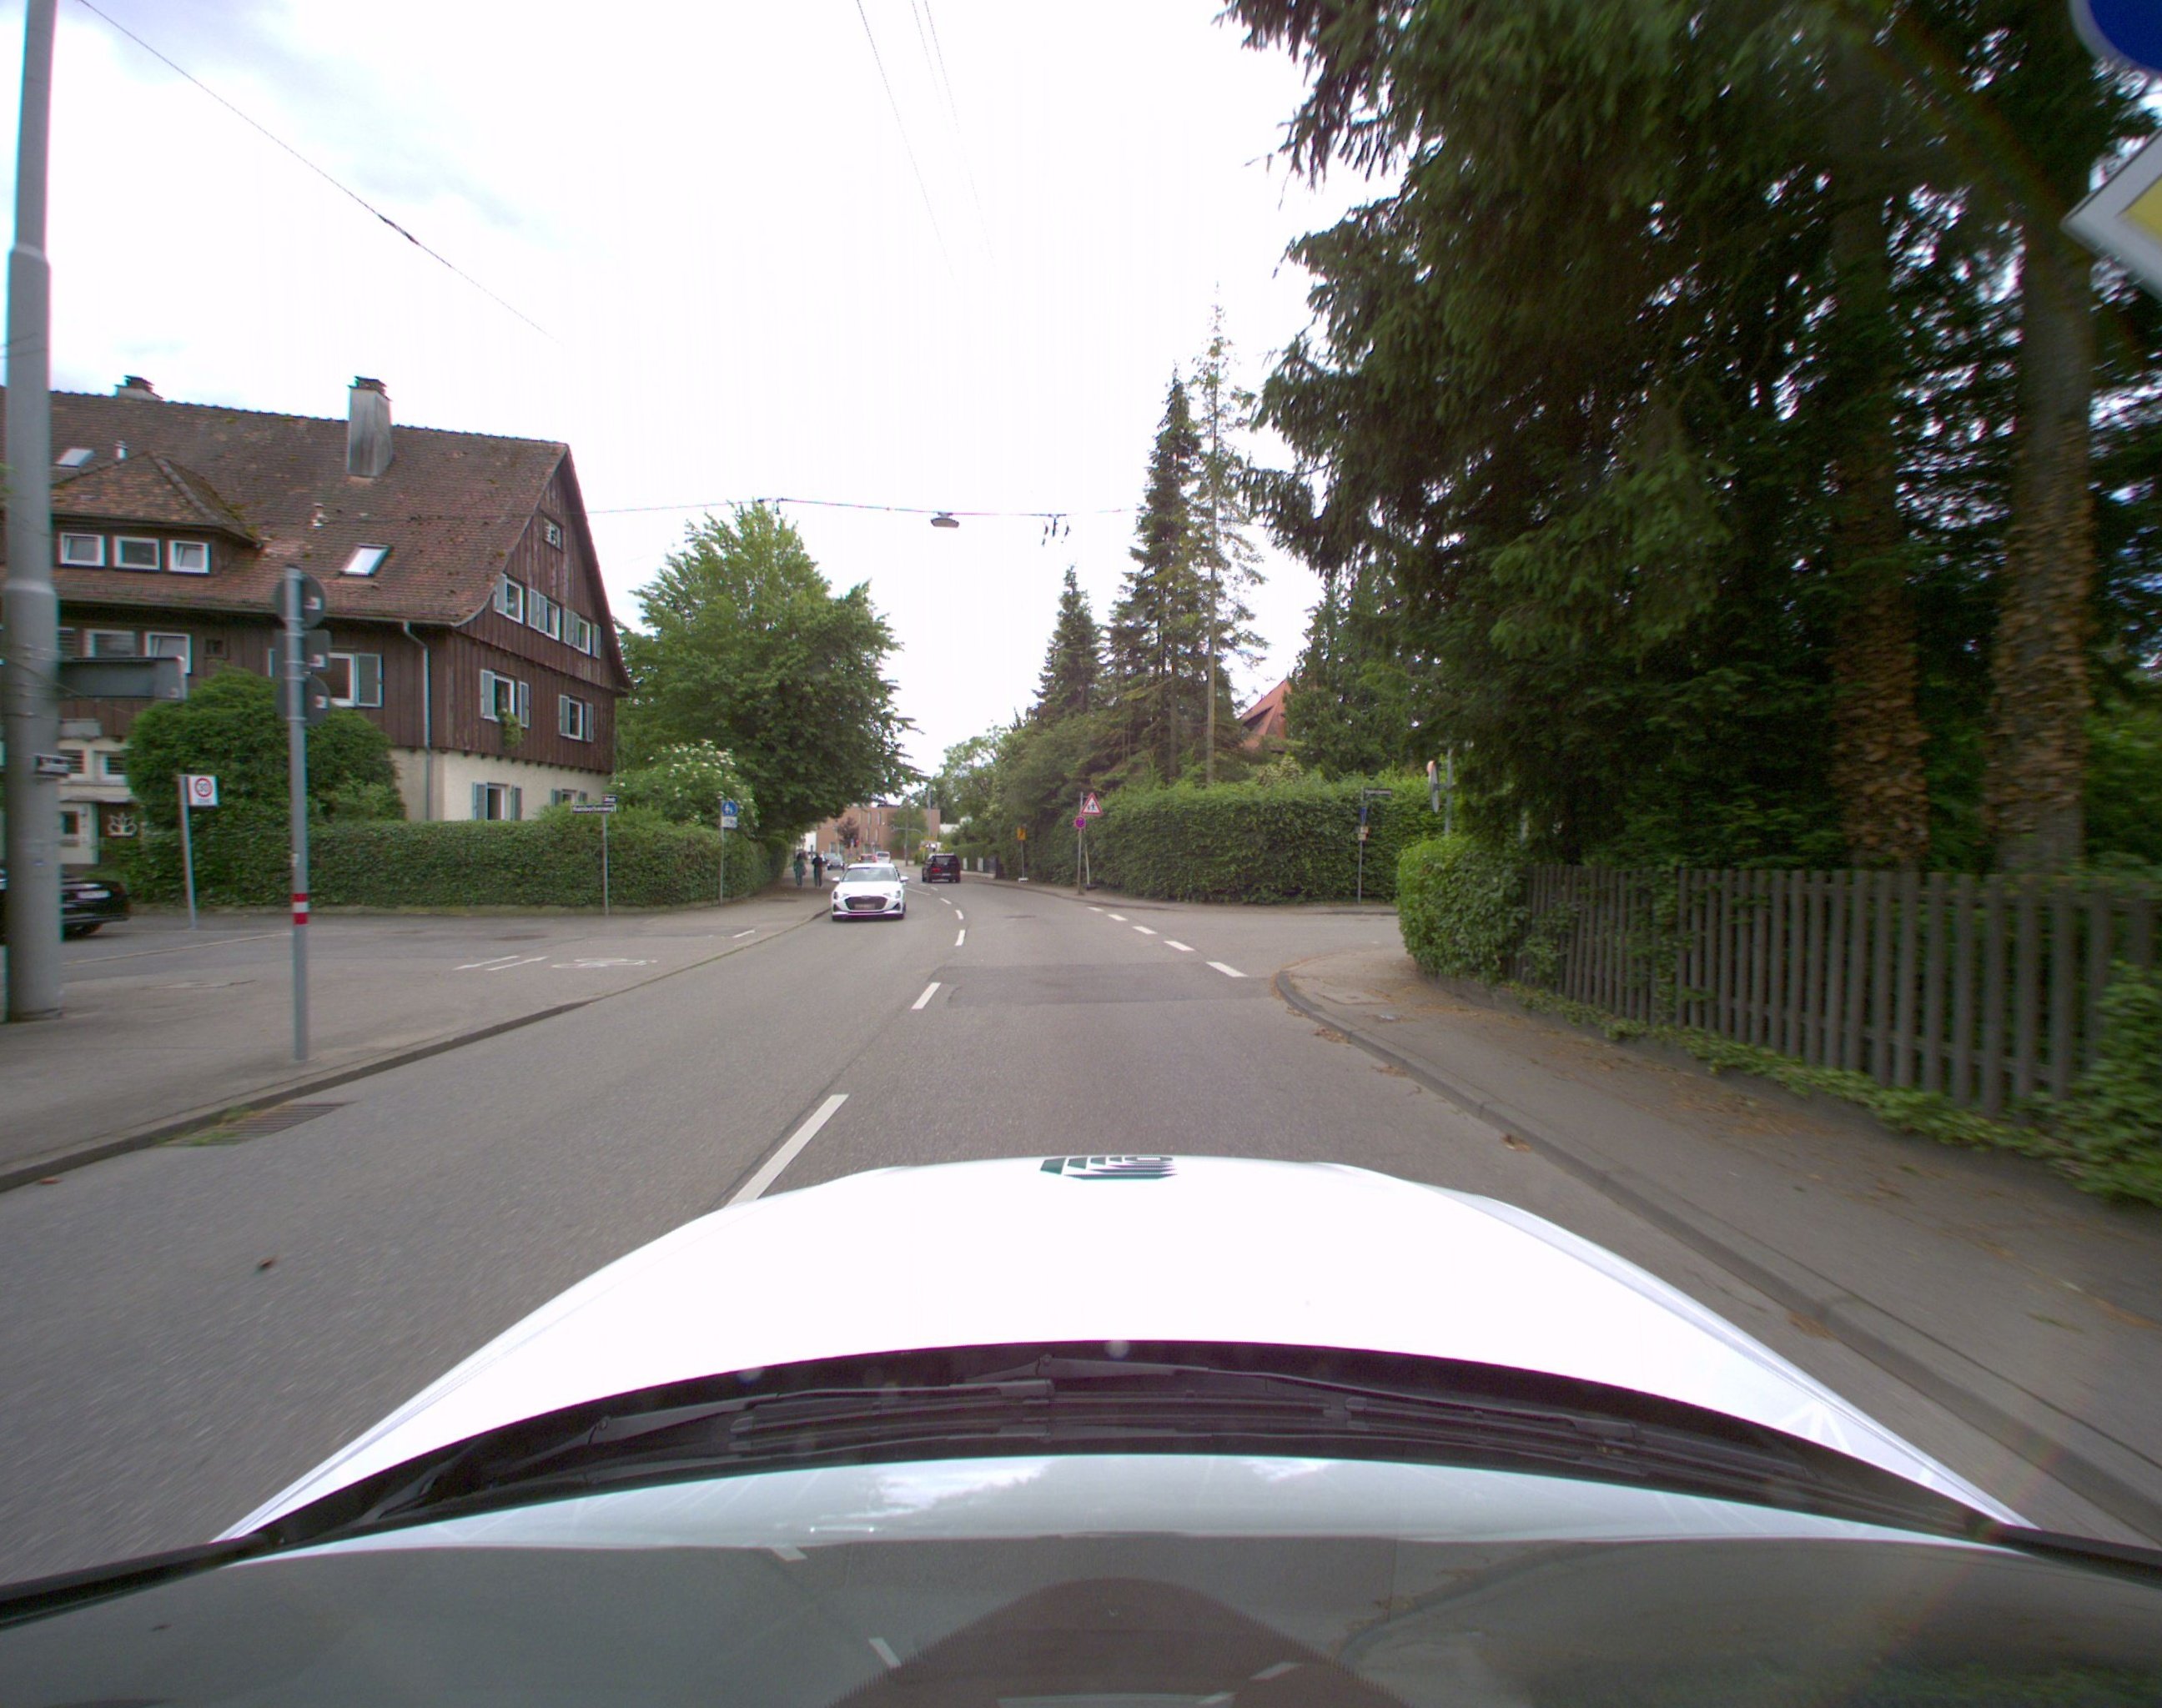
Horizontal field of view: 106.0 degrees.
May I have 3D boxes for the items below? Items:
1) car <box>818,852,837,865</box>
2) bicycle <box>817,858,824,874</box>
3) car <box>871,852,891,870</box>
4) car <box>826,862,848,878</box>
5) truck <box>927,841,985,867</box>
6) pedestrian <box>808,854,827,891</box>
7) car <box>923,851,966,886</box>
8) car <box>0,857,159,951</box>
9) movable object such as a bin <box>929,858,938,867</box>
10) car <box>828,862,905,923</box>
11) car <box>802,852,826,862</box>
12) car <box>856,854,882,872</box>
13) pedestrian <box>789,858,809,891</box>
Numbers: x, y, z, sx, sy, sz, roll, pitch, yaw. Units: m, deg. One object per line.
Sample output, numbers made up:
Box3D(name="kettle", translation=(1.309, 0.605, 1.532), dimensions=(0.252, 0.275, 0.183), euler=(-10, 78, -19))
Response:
Box3D(name="car", translation=(-32.019, 0.537, 102.773), dimensions=(1.840, 1.630, 4.250), euler=(-1, 1, -23))
Box3D(name="bicycle", translation=(-29.243, 1.390, 91.364), dimensions=(0.761, 1.744, 1.859), euler=(-1, 0, -19))
Box3D(name="car", translation=(-24.669, 0.839, 100.554), dimensions=(1.961, 2.013, 4.414), euler=(4, 1, -10))
Box3D(name="car", translation=(-24.416, 1.548, 81.334), dimensions=(1.728, 1.471, 3.503), euler=(-1, 0, -23))
Box3D(name="truck", translation=(-23.436, 0.018, 153.644), dimensions=(3.095, 4.734, 11.869), euler=(1, 0, 36))
Box3D(name="pedestrian", translation=(-12.003, 0.847, 37.125), dimensions=(0.633, 1.662, 0.910), euler=(1, -1, -31))
Box3D(name="car", translation=(-8.140, 0.825, 48.283), dimensions=(1.998, 1.881, 3.978), euler=(0, 1, -17))
Box3D(name="car", translation=(-19.289, 0.780, 13.753), dimensions=(4.746, 1.415, 1.882), euler=(2, 1, -9))
Box3D(name="movable object such as a bin", translation=(-17.530, 0.998, 96.909), dimensions=(0.673, 1.074, 0.720), euler=(1, -2, 35))
Box3D(name="car", translation=(-5.728, 0.964, 22.081), dimensions=(1.809, 1.443, 4.180), euler=(-1, 0, -13))
Box3D(name="car", translation=(-53.156, 0.564, 162.330), dimensions=(1.975, 2.013, 4.023), euler=(1, 0, 44))
Box3D(name="car", translation=(-21.091, 0.841, 81.160), dimensions=(1.891, 1.706, 3.991), euler=(1, 0, -7))
Box3D(name="pedestrian", translation=(-12.692, 0.911, 36.624), dimensions=(0.673, 1.449, 0.750), euler=(1, -1, -32))
